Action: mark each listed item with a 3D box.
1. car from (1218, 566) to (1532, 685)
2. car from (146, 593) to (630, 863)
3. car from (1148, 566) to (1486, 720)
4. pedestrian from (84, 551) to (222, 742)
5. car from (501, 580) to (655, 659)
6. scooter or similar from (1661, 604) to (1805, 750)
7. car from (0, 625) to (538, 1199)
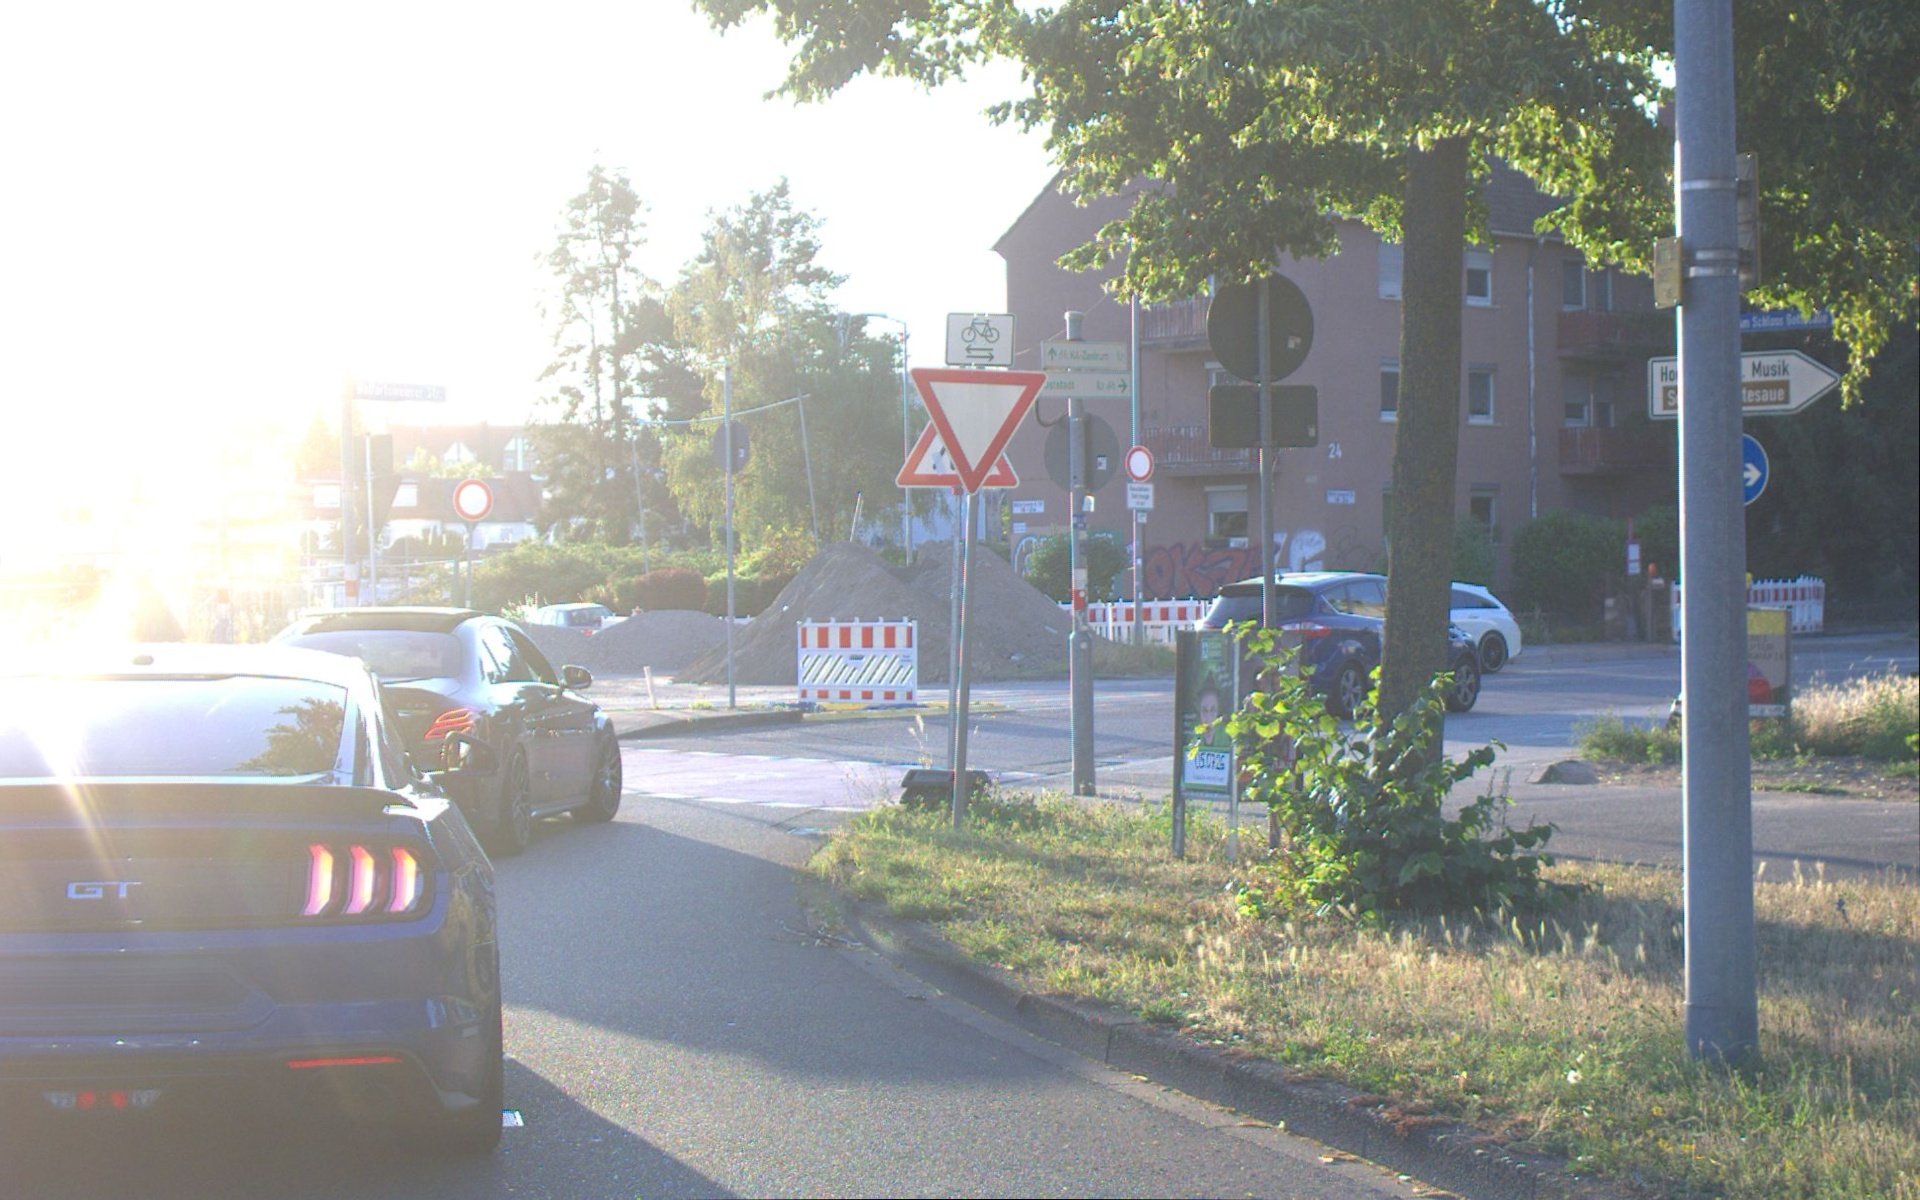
[{"bbox_3d":[6.332,0.349,52.237,4.643,1.448,2.075,-3,5,-38],"label":"car"},{"bbox_3d":[-3.348,0.700,21.037,1.951,1.422,4.429,2,0,3],"label":"car"},{"bbox_3d":[4.067,0.457,38.667,1.955,1.597,4.069,-1,0,36],"label":"car"},{"bbox_3d":[-7.292,0.408,31.063,0.886,1.680,0.844,0,1,44],"label":"pedestrian"},{"bbox_3d":[-8.556,0.422,76.804,1.993,1.700,4.000,-1,0,-29],"label":"car"},{"bbox_3d":[6.672,0.657,29.682,1.120,1.234,0.442,-1,0,-8],"label":"scooter or similar"},{"bbox_3d":[-2.423,0.774,10.062,1.951,1.337,4.672,0,0,-12],"label":"car"}]
